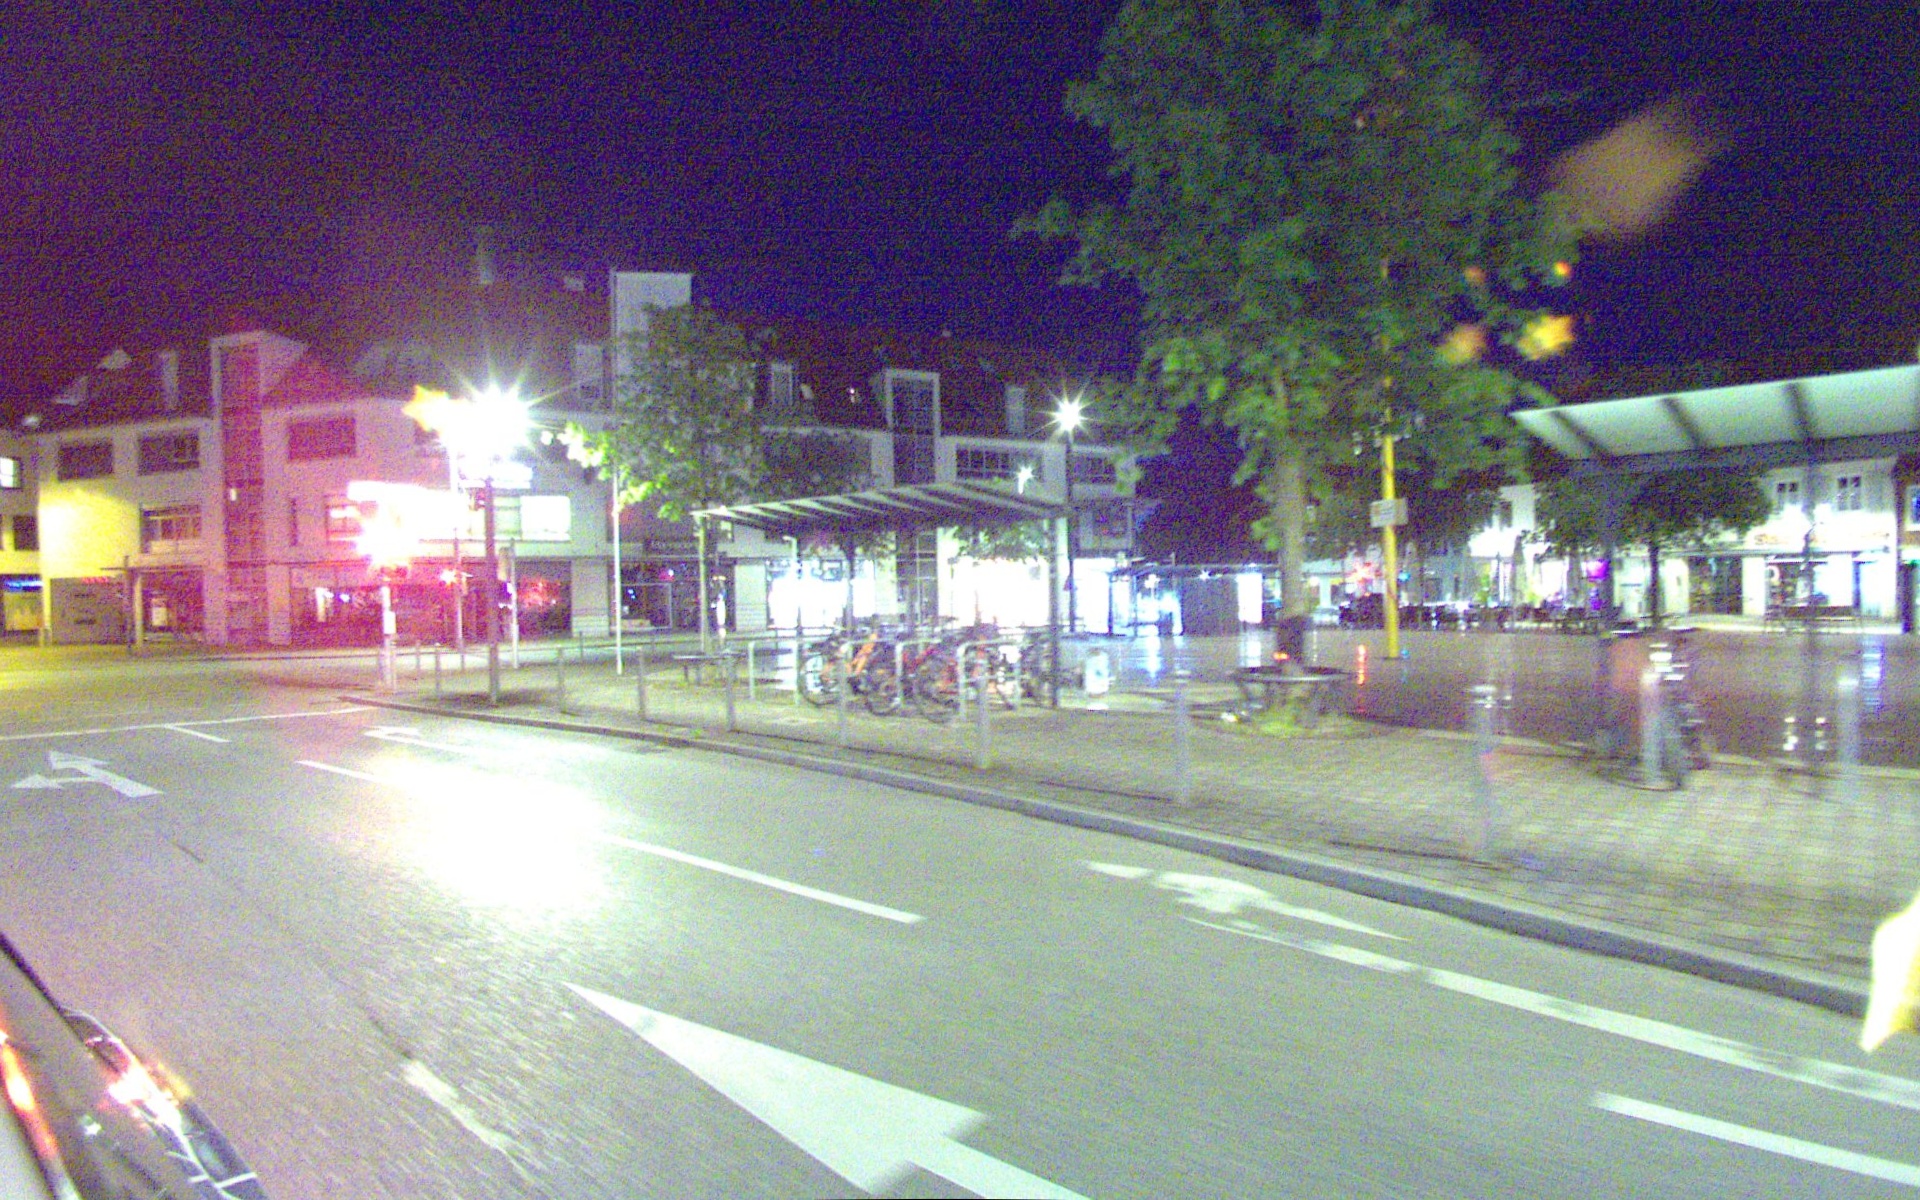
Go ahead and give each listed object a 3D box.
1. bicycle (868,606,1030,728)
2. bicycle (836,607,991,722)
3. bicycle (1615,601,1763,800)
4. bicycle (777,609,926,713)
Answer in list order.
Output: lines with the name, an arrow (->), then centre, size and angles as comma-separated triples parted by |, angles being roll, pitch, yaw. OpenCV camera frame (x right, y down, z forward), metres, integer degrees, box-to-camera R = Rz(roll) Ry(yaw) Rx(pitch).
bicycle -> -0.100, 0.720, 11.502 | 1.715, 1.175, 0.787 | -4, 2, -44
bicycle -> -0.528, 0.726, 12.085 | 1.715, 1.166, 0.787 | -5, 3, -44
bicycle -> 5.038, 0.607, 6.950 | 0.670, 1.173, 1.751 | -1, 0, 40
bicycle -> -1.407, 0.756, 13.357 | 1.813, 1.166, 0.787 | -5, 3, -44
